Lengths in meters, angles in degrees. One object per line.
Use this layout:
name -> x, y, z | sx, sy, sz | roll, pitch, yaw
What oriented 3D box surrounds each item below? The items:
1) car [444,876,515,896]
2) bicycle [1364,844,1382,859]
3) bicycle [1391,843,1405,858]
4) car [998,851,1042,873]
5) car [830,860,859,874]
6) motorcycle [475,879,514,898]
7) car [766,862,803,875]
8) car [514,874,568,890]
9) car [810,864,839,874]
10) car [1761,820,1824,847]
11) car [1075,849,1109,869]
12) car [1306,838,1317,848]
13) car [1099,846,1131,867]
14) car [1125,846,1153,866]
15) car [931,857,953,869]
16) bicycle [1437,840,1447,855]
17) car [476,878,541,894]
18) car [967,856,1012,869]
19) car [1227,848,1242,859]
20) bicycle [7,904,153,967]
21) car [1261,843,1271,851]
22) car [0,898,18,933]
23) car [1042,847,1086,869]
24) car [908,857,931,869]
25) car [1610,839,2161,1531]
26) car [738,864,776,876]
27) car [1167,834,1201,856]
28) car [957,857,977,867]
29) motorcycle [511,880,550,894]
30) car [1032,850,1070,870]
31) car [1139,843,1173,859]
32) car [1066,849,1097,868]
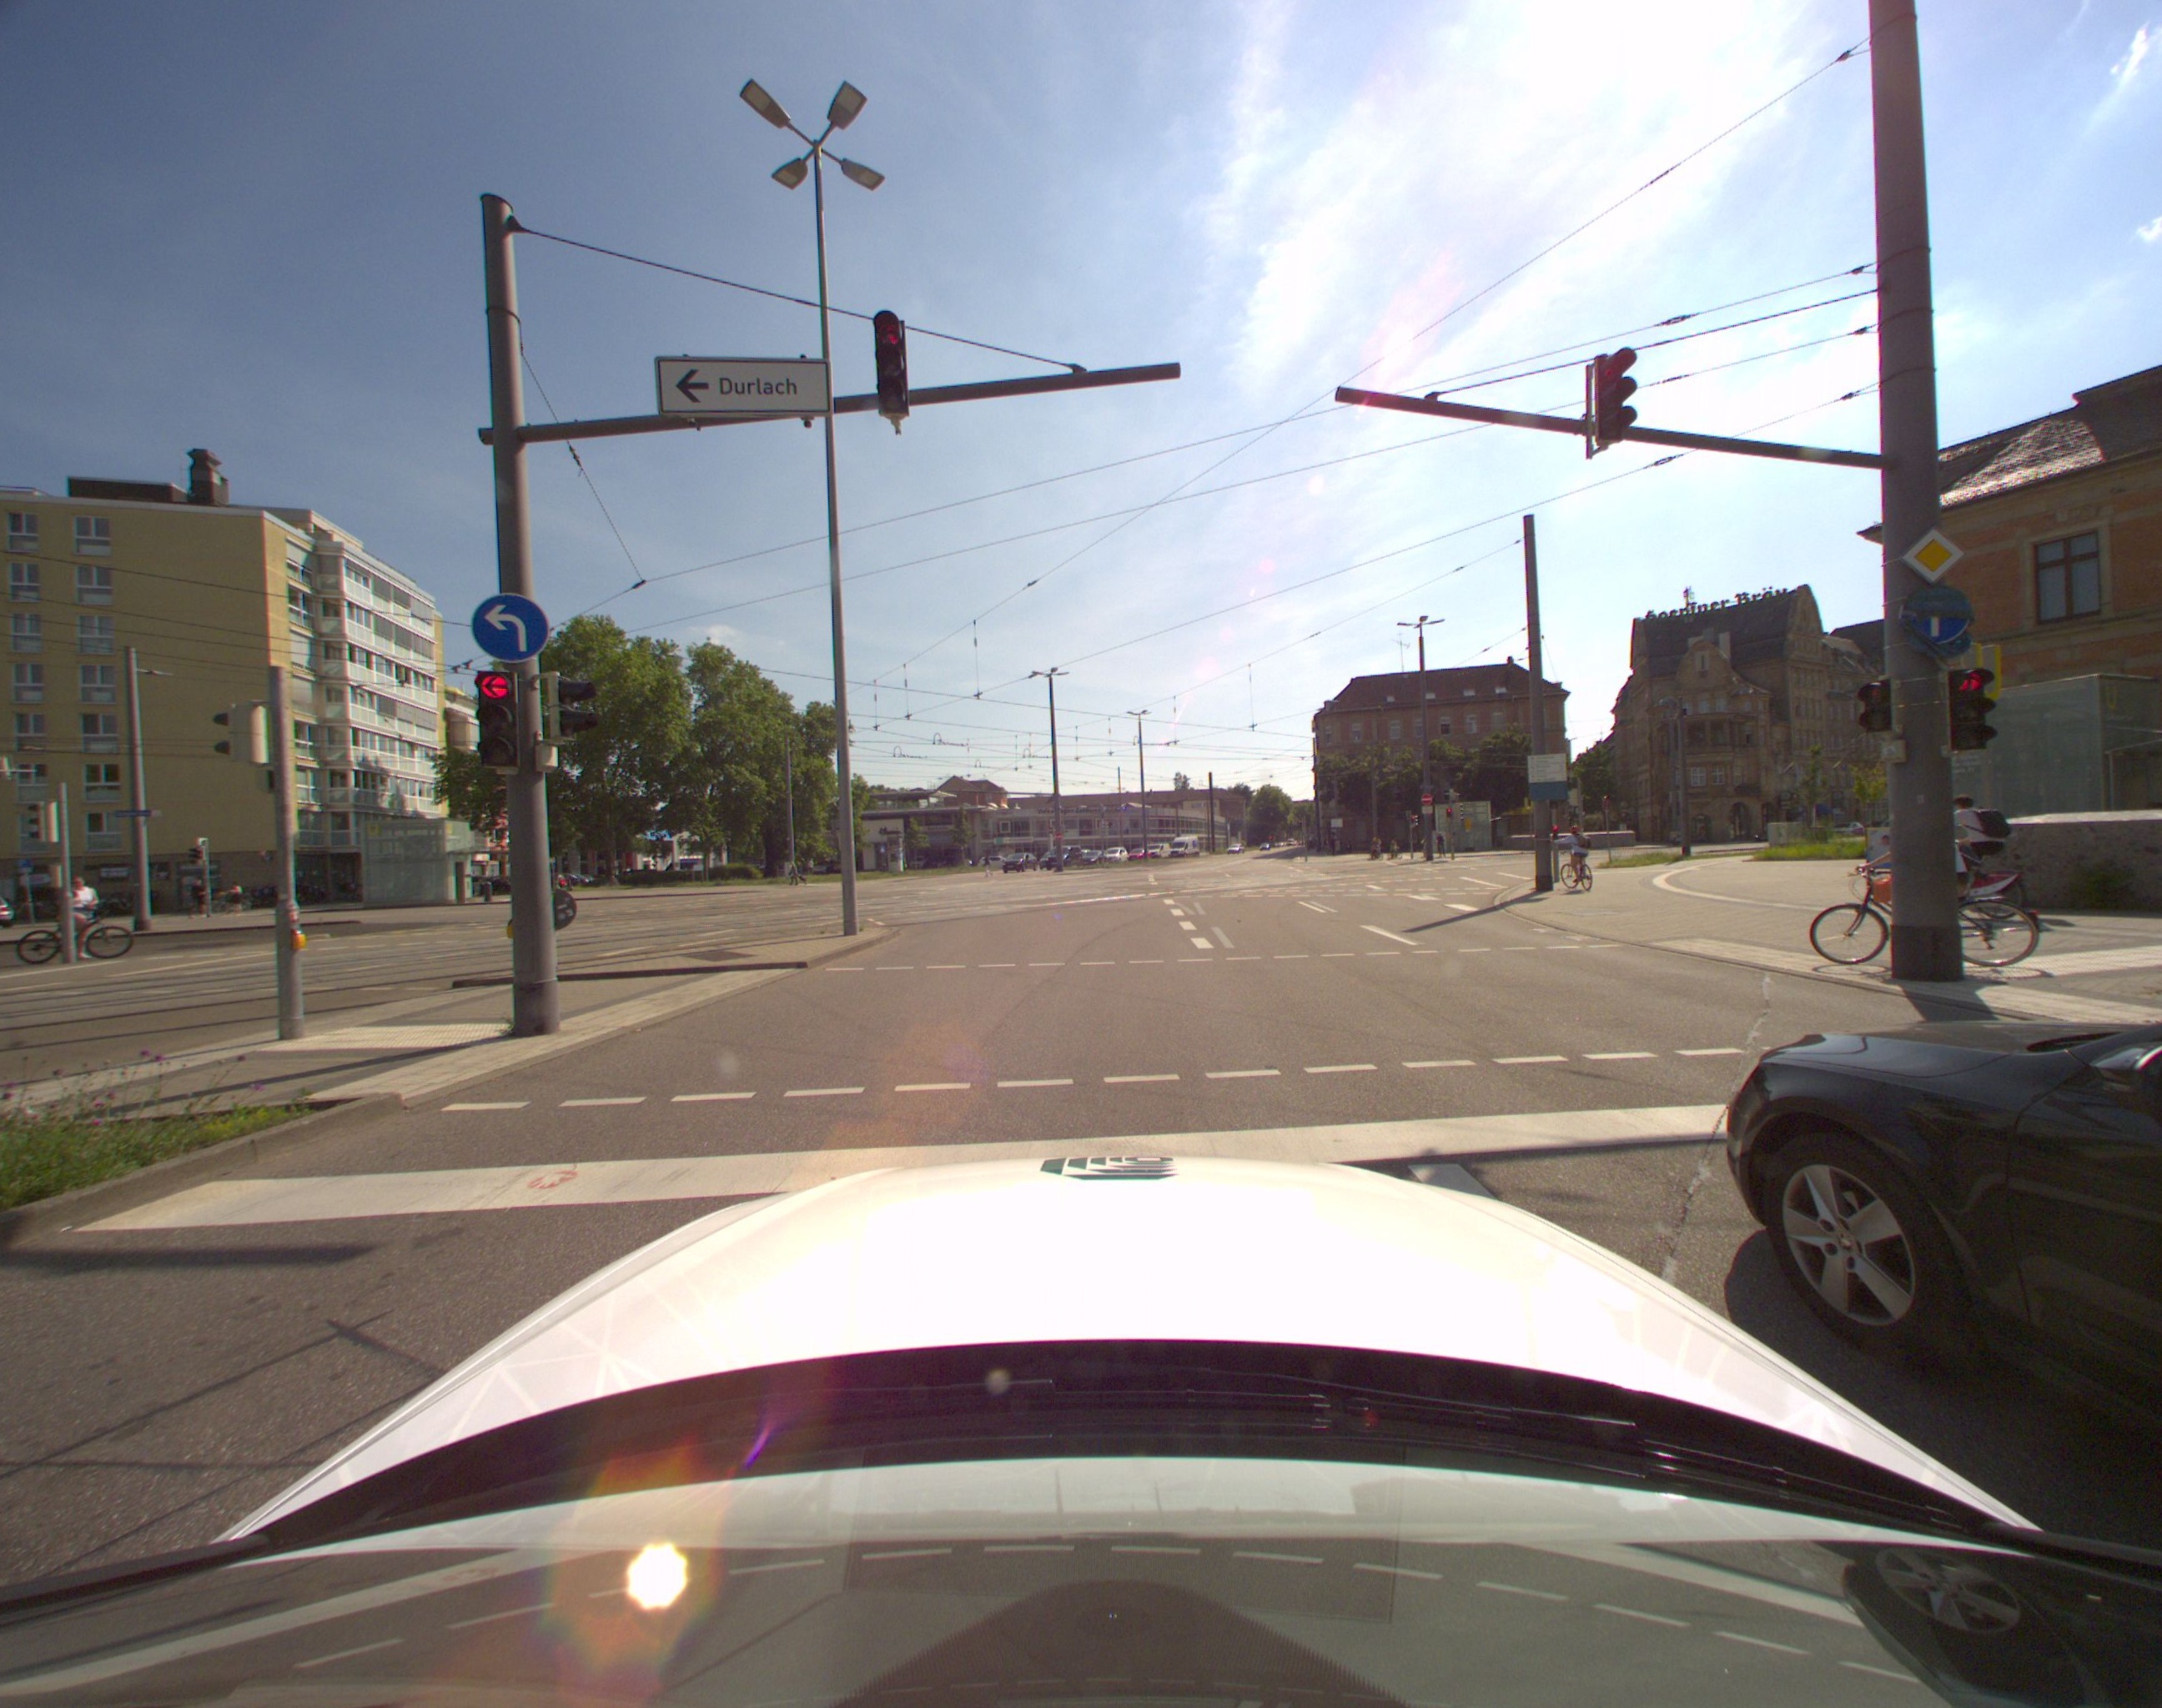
car -> -46.438, 2.434, 62.967 | 3.994, 1.440, 1.881 | 0, -1, -15
bicycle -> 22.071, -0.192, 61.569 | 0.920, 1.069, 2.755 | -1, -1, 12
bicycle -> 23.867, -0.290, 61.331 | 0.918, 1.069, 2.856 | -1, 1, 21
car -> -4.762, 0.651, 64.269 | 1.876, 1.588, 4.230 | -3, -1, 19
car -> -29.629, 1.623, 102.134 | 1.983, 1.684, 4.008 | 0, -1, 7
motorcycle -> -35.750, 2.124, 49.660 | 2.019, 1.062, 0.642 | -2, 0, 9
car -> -38.578, 1.865, 105.946 | 3.974, 1.552, 2.000 | -2, 0, 0
car -> -49.707, 2.558, 74.993 | 3.729, 1.340, 1.735 | 0, -1, -15
car -> -31.990, 1.857, 101.793 | 1.983, 1.244, 4.008 | 0, 0, 7
car -> 39.127, -1.128, 44.764 | 3.464, 1.313, 1.655 | -3, 0, -32
car -> 0.992, 0.456, 71.298 | 1.880, 1.588, 4.017 | -3, -1, 16
car -> 46.552, -2.211, 164.428 | 2.092, 2.013, 4.017 | -2, 0, 16
car -> 3.277, 0.279, 78.542 | 1.879, 1.917, 4.220 | -3, -1, 19
car -> 6.139, 0.221, 85.377 | 1.879, 1.917, 4.220 | -3, -1, 19
car -> -17.259, 1.104, 100.973 | 1.987, 1.486, 4.000 | 0, 0, 0
bicycle -> 26.957, -0.472, 60.771 | 0.661, 1.069, 2.478 | -1, 1, 24
car -> -47.309, 2.647, 67.393 | 3.994, 1.270, 1.735 | 0, -1, -15
car -> -9.936, 0.927, 88.210 | 4.551, 1.436, 1.450 | -1, -1, 15
car -> 23.039, -0.029, 122.301 | 1.371, 1.625, 3.360 | -1, -1, 27
bicycle -> -20.924, 1.685, 17.058 | 1.843, 1.083, 0.749 | -4, 0, -9
car -> 35.671, -1.294, 156.924 | 1.372, 1.414, 3.028 | -1, -1, 21
car -> -49.274, 2.830, 36.511 | 3.948, 1.440, 1.825 | -5, -2, 35
car -> -1.302, 0.325, 64.773 | 1.945, 1.587, 4.739 | -2, 0, 19
car -> -20.031, 1.086, 101.068 | 1.987, 1.486, 4.000 | 0, 0, 0
car -> 3.035, 0.665, 1.043 | 1.625, 1.435, 4.779 | -1, -1, 0
car -> -40.974, 2.026, 102.957 | 3.973, 1.371, 2.000 | 0, 0, 1
car -> 12.615, -1.026, 99.599 | 2.188, 2.575, 5.910 | -1, -1, 28
car -> -14.098, 0.958, 100.509 | 1.824, 1.195, 4.000 | 0, 0, 1
motorcycle -> -36.868, 2.193, 54.571 | 0.632, 0.842, 2.051 | -2, 0, 35
car -> -2.576, 0.520, 71.033 | 1.879, 1.588, 4.019 | -3, -1, 19
car -> 8.570, -0.325, 92.379 | 2.165, 1.680, 5.058 | -3, 0, 24
car -> 0.080, 0.446, 78.297 | 1.638, 1.739, 4.220 | -3, -1, 19
